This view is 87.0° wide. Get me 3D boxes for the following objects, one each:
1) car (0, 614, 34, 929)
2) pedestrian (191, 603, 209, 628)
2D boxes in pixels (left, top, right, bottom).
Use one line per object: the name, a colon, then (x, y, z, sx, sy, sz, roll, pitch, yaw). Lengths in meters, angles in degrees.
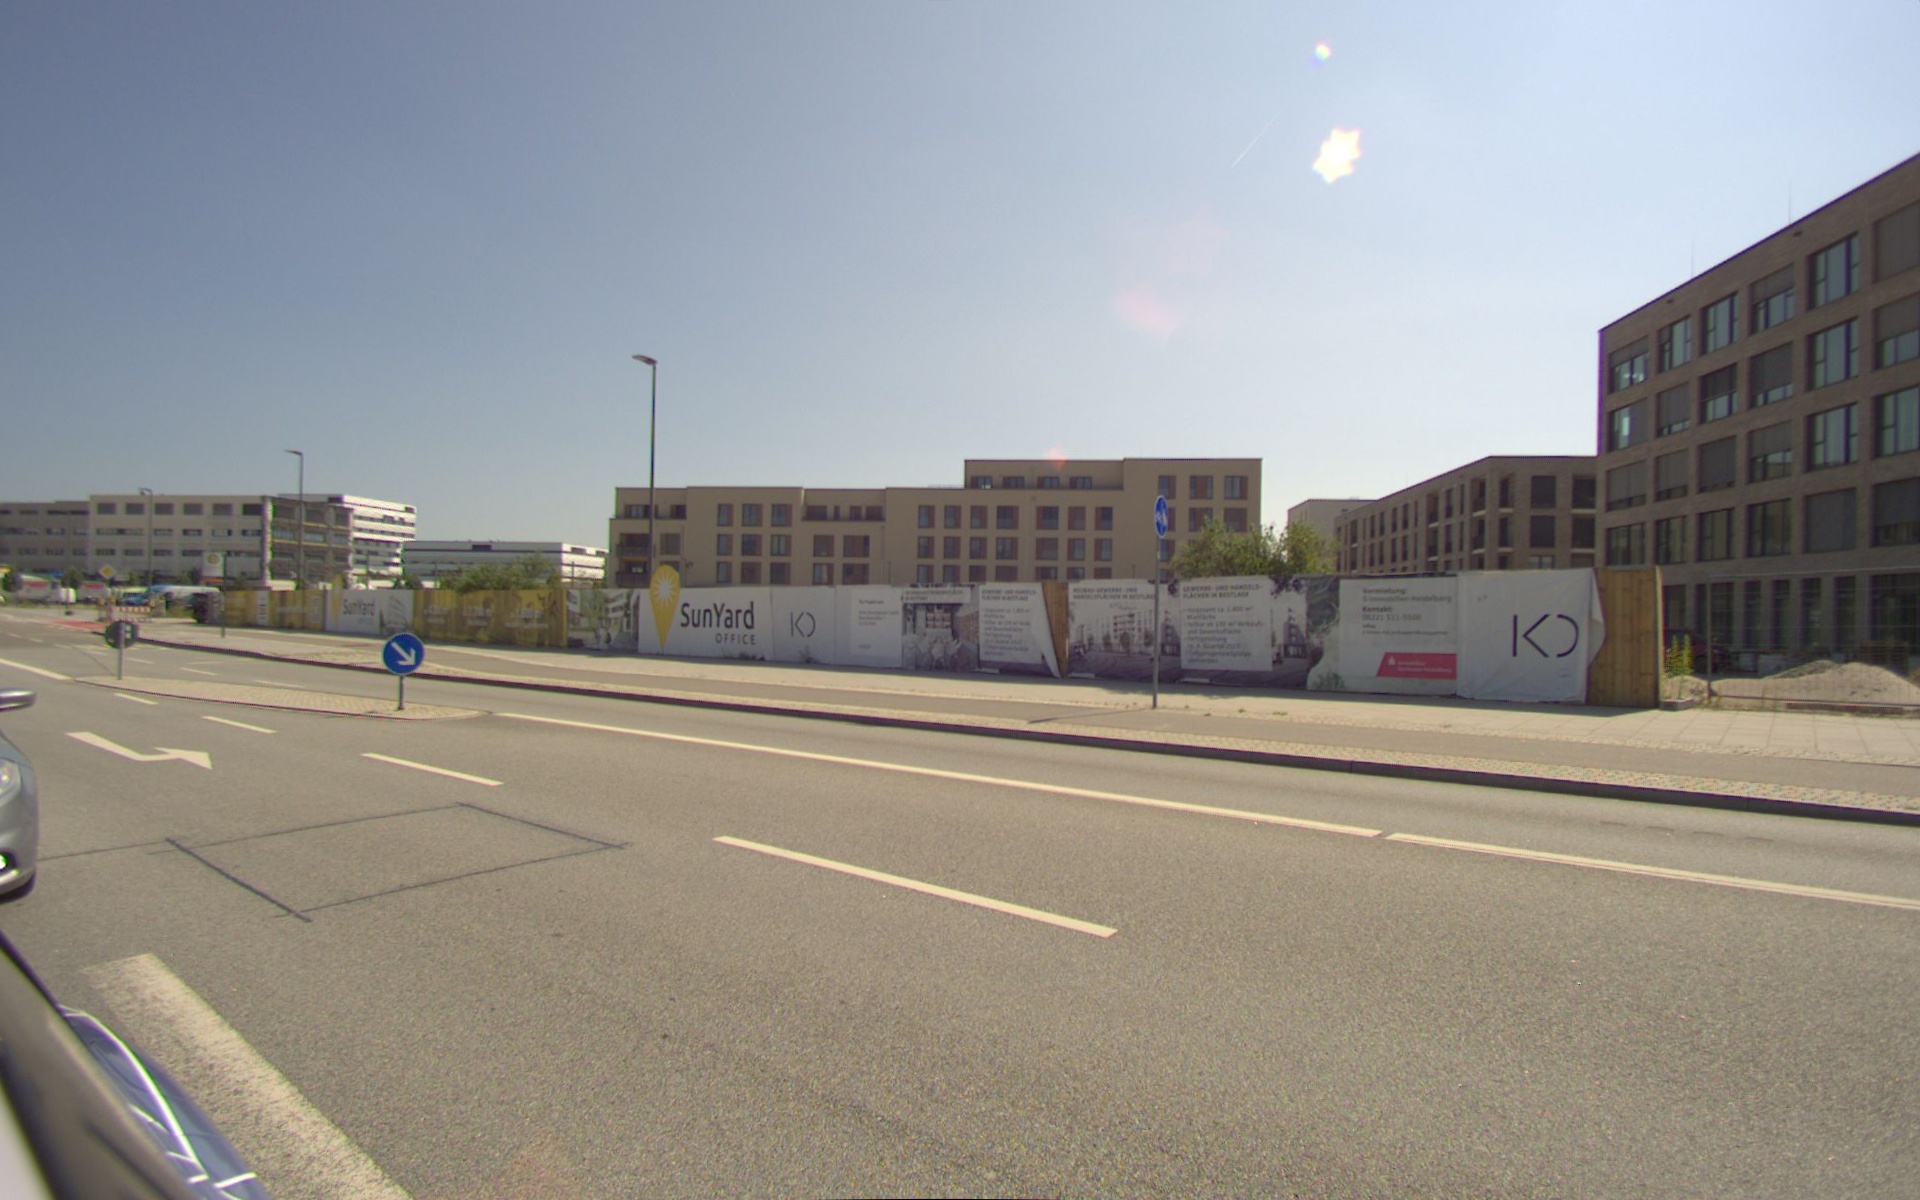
car: (-6.300, 0.785, 5.254, 4.134, 1.390, 1.762, -1, 0, 41)
pedestrian: (-48.831, 0.981, 65.036, 0.610, 1.598, 0.703, -1, 0, 5)
